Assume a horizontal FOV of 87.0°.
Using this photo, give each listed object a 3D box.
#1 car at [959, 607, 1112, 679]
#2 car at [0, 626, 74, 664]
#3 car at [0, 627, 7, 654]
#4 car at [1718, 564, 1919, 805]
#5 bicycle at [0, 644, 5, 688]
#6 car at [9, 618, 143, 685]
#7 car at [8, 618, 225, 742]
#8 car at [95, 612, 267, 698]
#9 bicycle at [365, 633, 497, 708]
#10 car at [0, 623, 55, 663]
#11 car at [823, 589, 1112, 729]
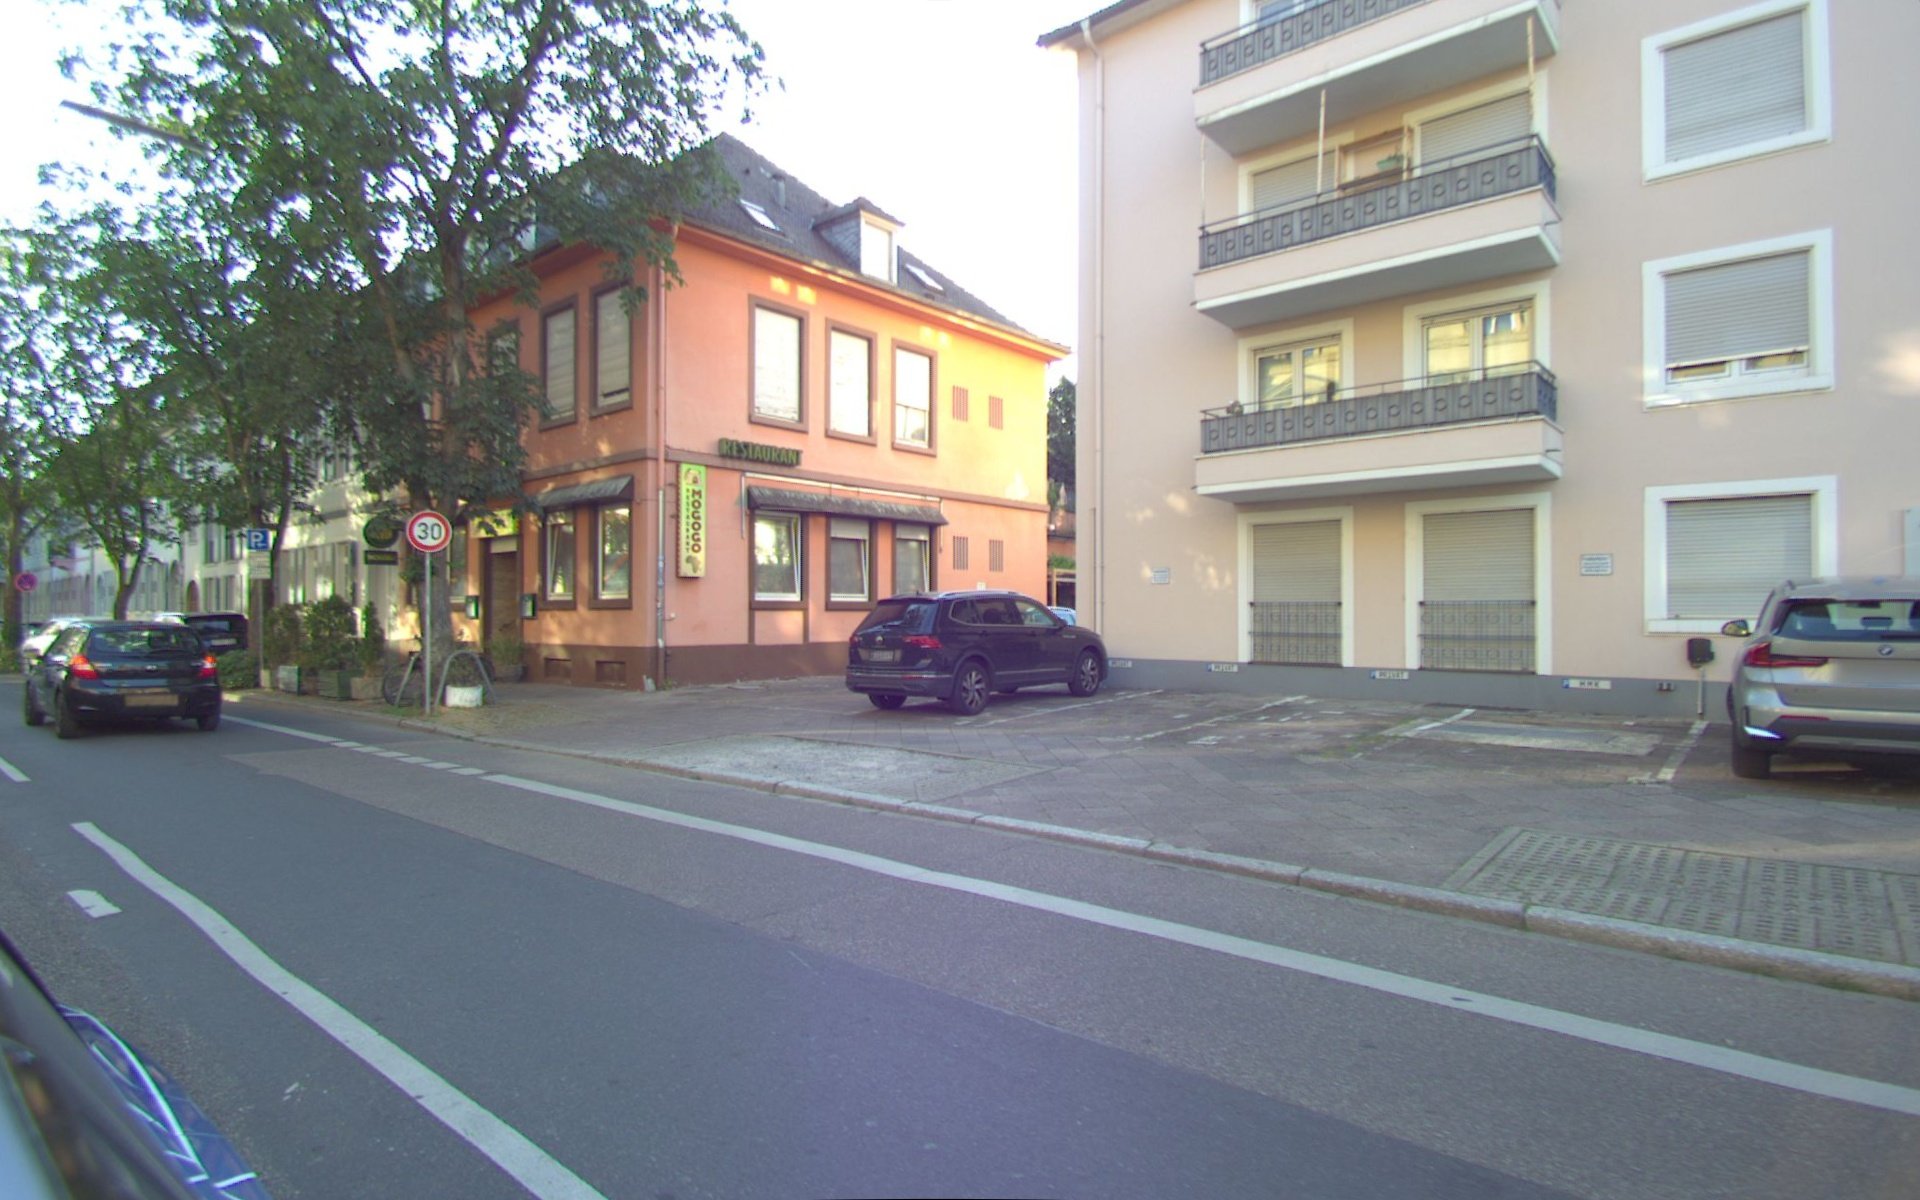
[{"bbox_3d":[1.874,0.984,24.242,1.884,1.567,3.762,-1,-2,38],"label":"car"},{"bbox_3d":[-39.675,1.868,42.031,1.801,1.557,4.172,-1,-2,43],"label":"car"},{"bbox_3d":[-55.471,2.270,55.722,1.798,1.519,4.178,-1,-2,38],"label":"car"},{"bbox_3d":[7.733,0.530,8.543,1.914,1.617,4.374,-2,0,39],"label":"car"},{"bbox_3d":[-27.140,1.798,28.050,2.049,1.164,0.619,1,0,37],"label":"bicycle"},{"bbox_3d":[-25.782,1.448,29.461,4.645,1.680,1.813,-1,2,35],"label":"car"},{"bbox_3d":[-11.755,1.046,14.024,3.850,1.483,1.641,-2,-3,40],"label":"car"},{"bbox_3d":[-18.935,1.258,24.512,5.037,1.772,1.813,-1,2,35],"label":"car"},{"bbox_3d":[-8.561,1.114,16.461,0.609,1.112,1.850,-1,-1,34],"label":"bicycle"},{"bbox_3d":[-41.939,1.853,43.590,1.798,1.703,4.178,-1,-2,38],"label":"car"},{"bbox_3d":[0.265,0.733,14.780,1.862,1.678,4.374,-2,0,39],"label":"car"}]
